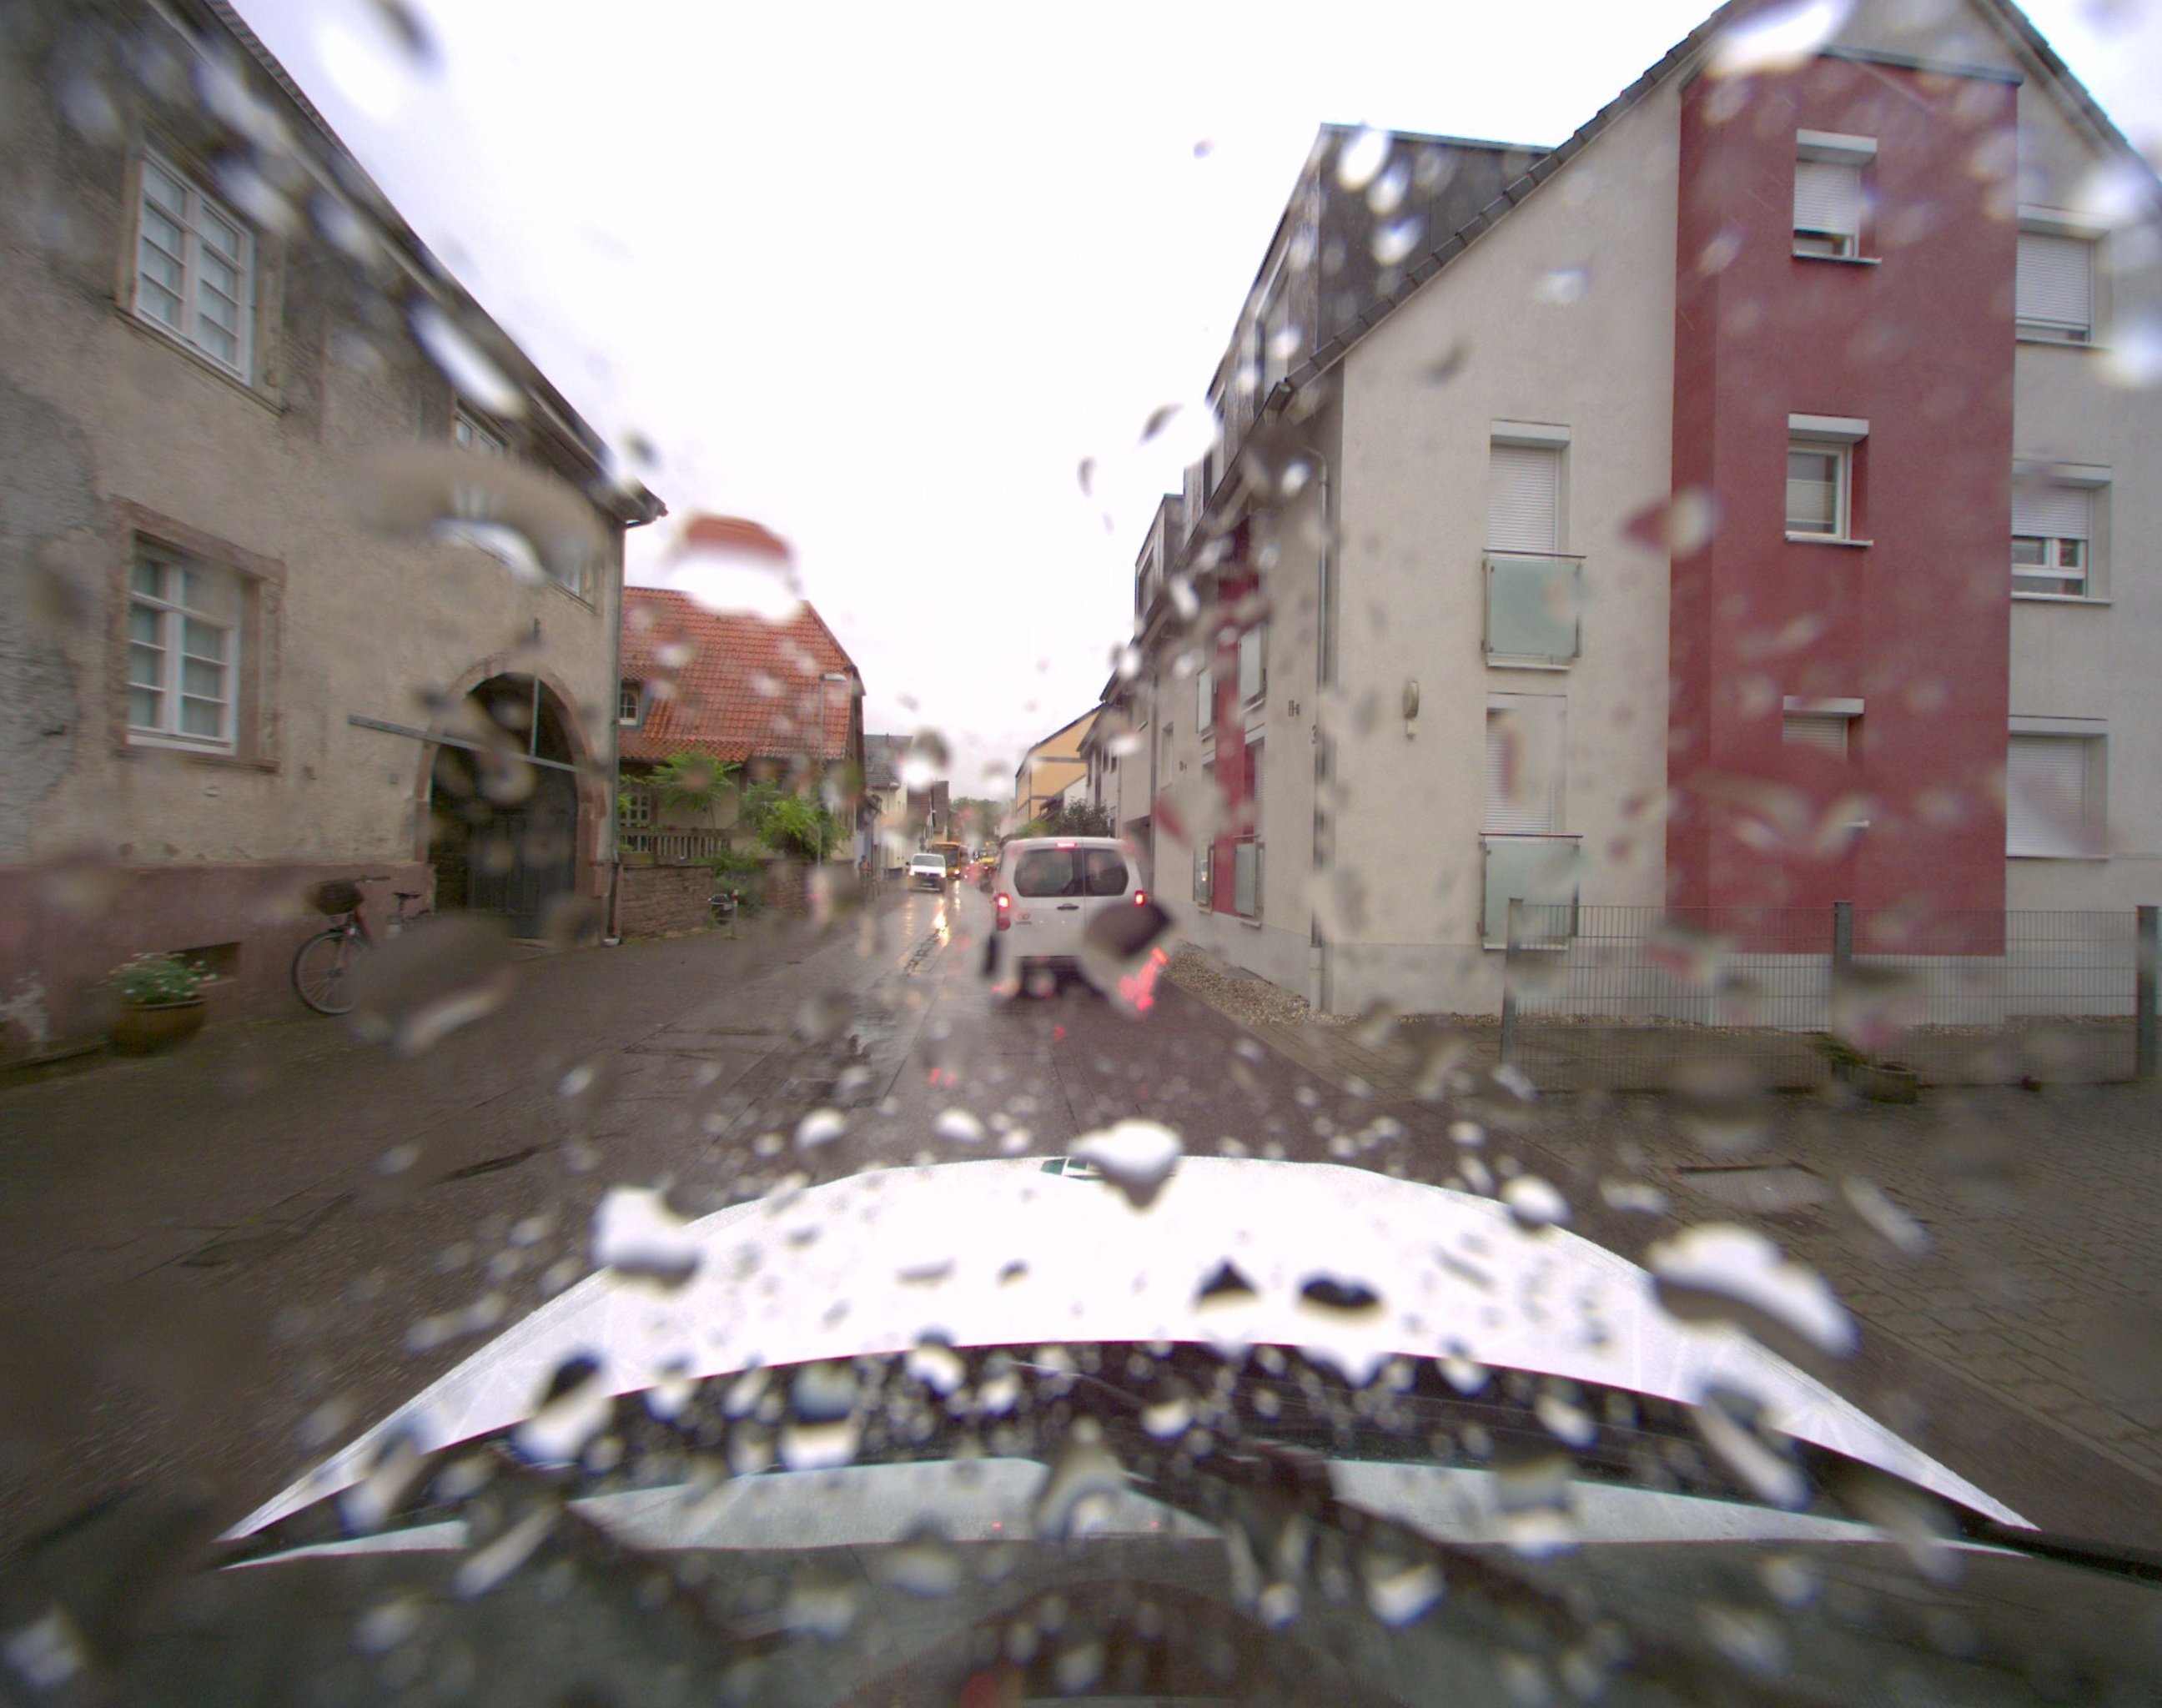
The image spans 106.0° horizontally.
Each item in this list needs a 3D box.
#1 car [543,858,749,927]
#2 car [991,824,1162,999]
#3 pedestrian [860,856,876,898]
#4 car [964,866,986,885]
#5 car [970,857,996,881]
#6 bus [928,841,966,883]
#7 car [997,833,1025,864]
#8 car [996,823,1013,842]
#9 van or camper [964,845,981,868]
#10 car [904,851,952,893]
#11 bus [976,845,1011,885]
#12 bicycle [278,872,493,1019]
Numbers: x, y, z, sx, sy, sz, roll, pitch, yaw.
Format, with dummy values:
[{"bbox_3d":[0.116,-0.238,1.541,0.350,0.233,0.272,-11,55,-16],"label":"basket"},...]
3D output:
[{"bbox_3d":[-9.268,0.810,17.591,3.522,1.376,1.592,1,-1,-5],"label":"car"},{"bbox_3d":[-0.267,0.635,10.708,1.793,1.819,4.091,-1,-1,-7],"label":"car"},{"bbox_3d":[-7.900,0.833,30.164,0.569,1.530,0.566,0,-1,-17],"label":"pedestrian"},{"bbox_3d":[-8.159,1.627,63.115,1.560,1.372,3.576,2,-1,-6],"label":"car"},{"bbox_3d":[-6.302,0.989,52.696,1.560,1.480,3.576,2,-1,-7],"label":"car"},{"bbox_3d":[-11.546,0.712,70.747,2.791,3.329,8.156,3,-2,-7],"label":"bus"},{"bbox_3d":[-5.046,-0.364,58.545,1.825,2.014,3.684,2,-1,-7],"label":"car"},{"bbox_3d":[-9.176,-2.489,97.409,1.991,2.014,3.991,2,-1,-6],"label":"car"},{"bbox_3d":[-14.292,0.389,107.526,1.832,2.926,5.352,2,-1,-5],"label":"van or camper"},{"bbox_3d":[-7.820,0.930,42.066,1.889,1.967,4.714,2,-1,-5],"label":"car"},{"bbox_3d":[-7.928,1.017,73.173,2.791,3.180,8.156,3,-2,-7],"label":"bus"},{"bbox_3d":[-6.321,0.765,7.549,0.482,1.180,1.832,2,-1,-5],"label":"bicycle"}]
